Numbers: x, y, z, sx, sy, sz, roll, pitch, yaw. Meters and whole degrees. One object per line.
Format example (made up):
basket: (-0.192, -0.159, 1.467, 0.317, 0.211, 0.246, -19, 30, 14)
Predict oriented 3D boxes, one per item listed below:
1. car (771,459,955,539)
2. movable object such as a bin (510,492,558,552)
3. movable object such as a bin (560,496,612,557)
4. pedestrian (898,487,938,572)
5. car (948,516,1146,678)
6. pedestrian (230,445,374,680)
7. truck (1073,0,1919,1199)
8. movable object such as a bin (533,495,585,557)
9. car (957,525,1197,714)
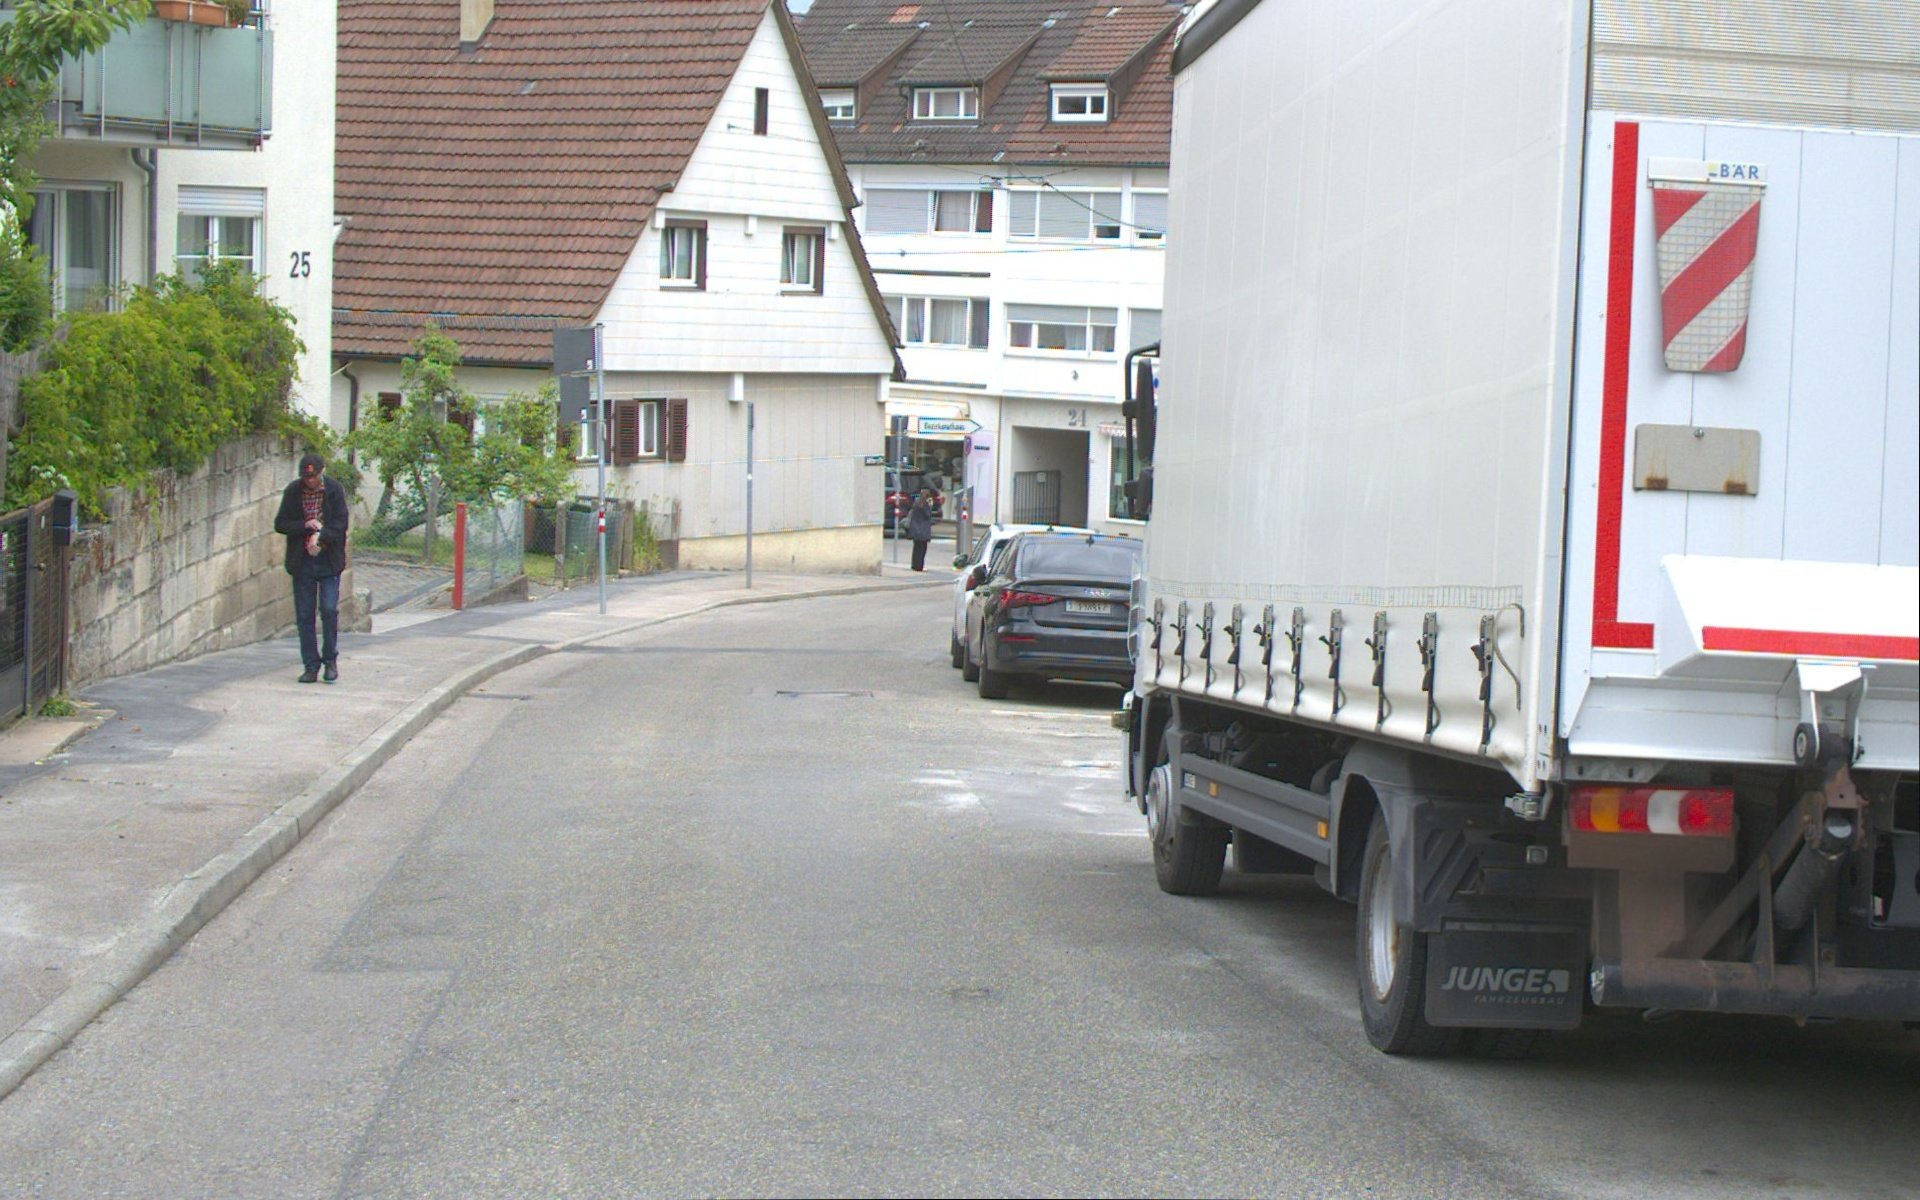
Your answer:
car: (-2.422, -2.527, 85.259, 4.366, 1.773, 1.943, 5, 4, 41)
movable object such as a bin: (-6.763, -1.235, 54.564, 0.495, 0.875, 0.452, 8, 2, 32)
movable object such as a bin: (-5.872, -1.148, 53.980, 0.528, 0.881, 0.489, 8, 2, 31)
pedestrian: (-0.851, -1.437, 69.771, 0.646, 1.679, 0.604, 2, 3, -11)
car: (0.833, -0.076, 35.266, 1.794, 1.440, 4.298, 4, 1, -1)
pedestrian: (-4.912, -0.284, 25.730, 0.840, 1.672, 0.977, 4, 1, -4)
truck: (2.300, -0.457, 11.514, 2.675, 3.584, 8.108, 3, 1, -5)
movable object such as a bin: (-6.324, -1.169, 54.235, 0.528, 0.914, 0.489, 8, 2, 31)
car: (0.945, 0.114, 29.830, 1.673, 1.403, 4.052, 4, 1, -3)
